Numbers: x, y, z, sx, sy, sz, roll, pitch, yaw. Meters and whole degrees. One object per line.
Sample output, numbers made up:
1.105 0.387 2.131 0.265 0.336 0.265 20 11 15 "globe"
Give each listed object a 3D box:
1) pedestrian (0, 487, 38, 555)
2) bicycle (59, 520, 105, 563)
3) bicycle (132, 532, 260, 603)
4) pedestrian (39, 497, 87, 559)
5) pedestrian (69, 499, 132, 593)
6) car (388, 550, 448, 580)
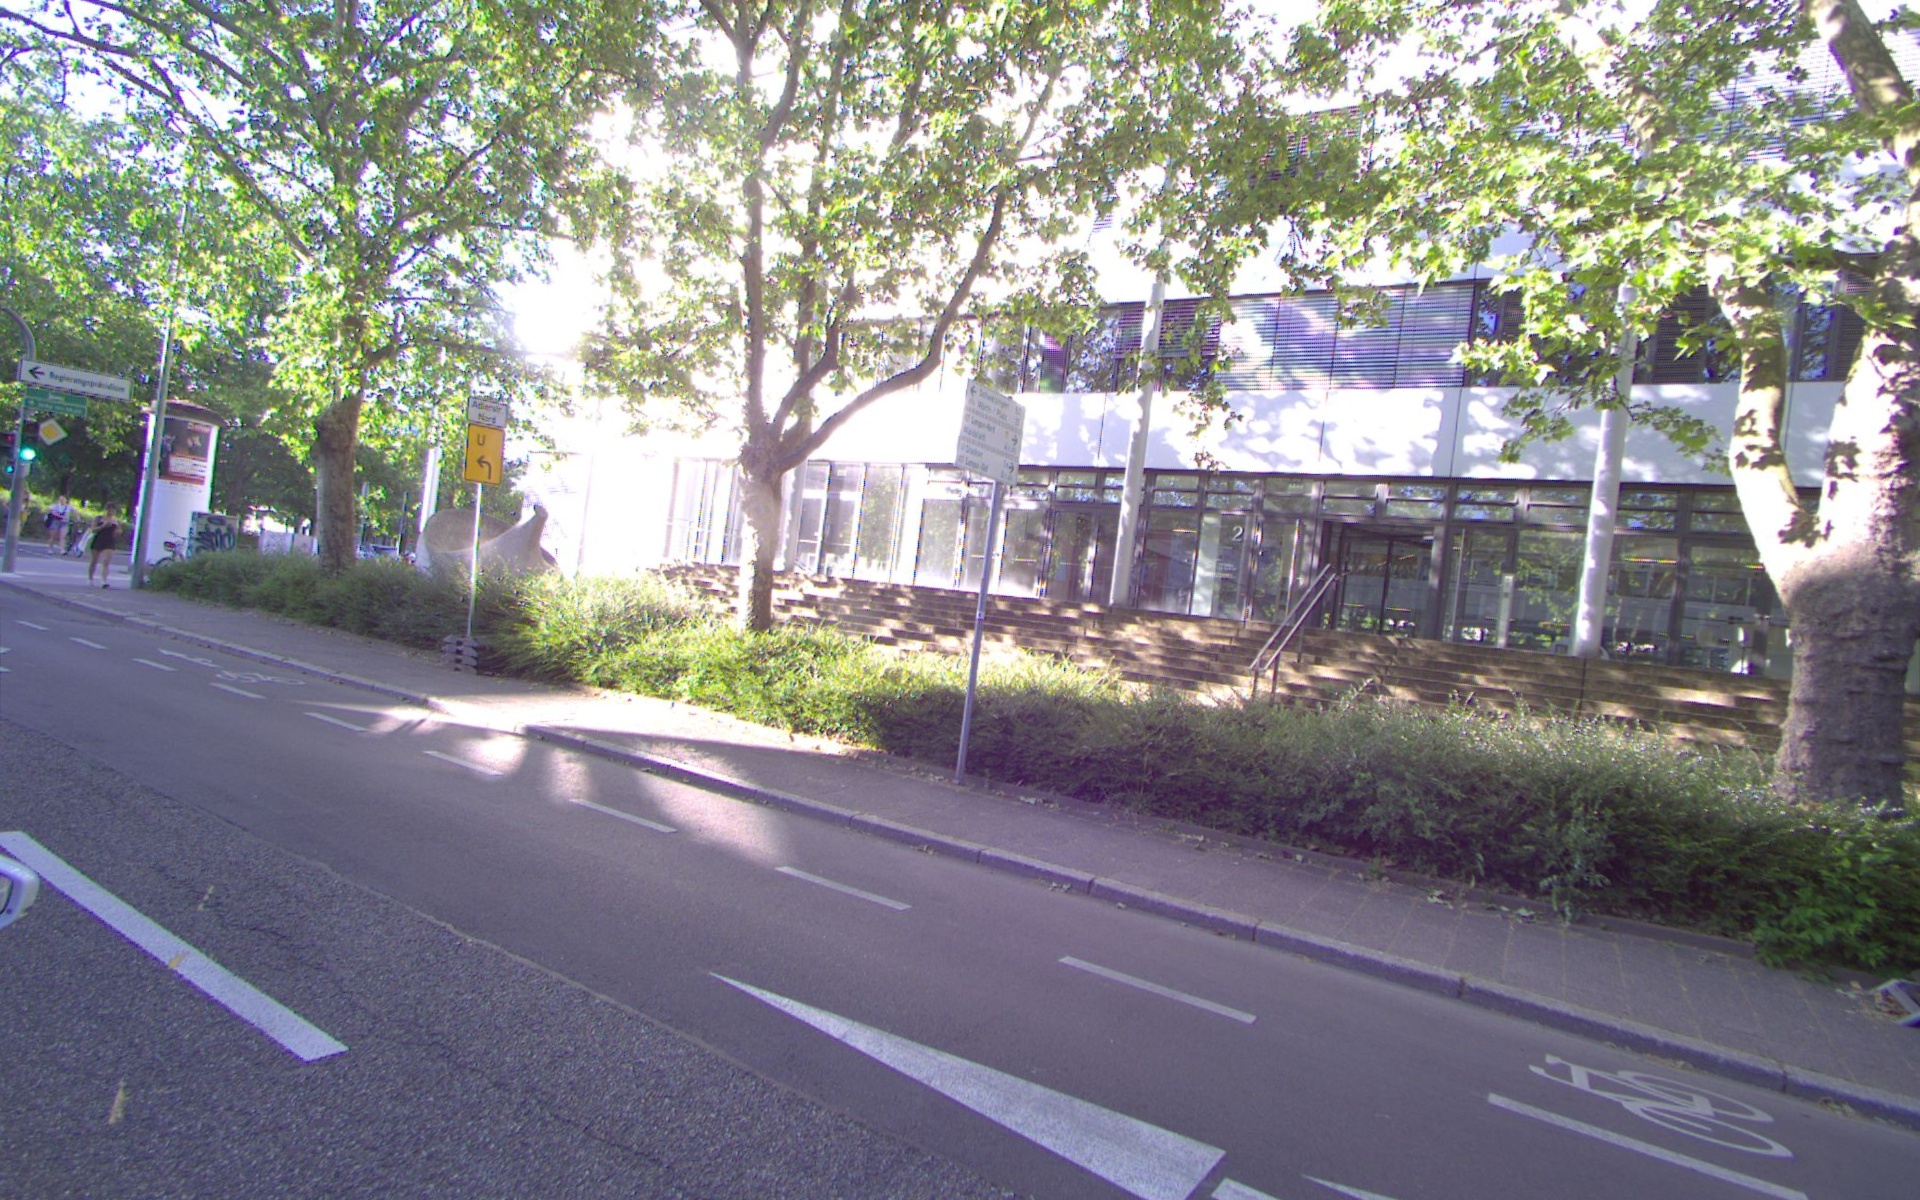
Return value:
-27.039 -2.269 28.766 0.895 1.830 0.732 5 0 36 "pedestrian"
-26.296 -1.760 30.110 1.713 1.113 0.525 6 -1 34 "bicycle"
-15.946 -0.653 21.059 0.519 1.203 1.980 7 -2 30 "bicycle"
-26.552 -2.130 29.784 0.955 1.717 0.684 6 -1 34 "pedestrian"
-16.206 -1.018 18.977 0.795 1.651 0.897 5 0 -41 "pedestrian"
-35.569 -2.324 65.975 3.732 1.500 1.633 6 -2 31 "car"
